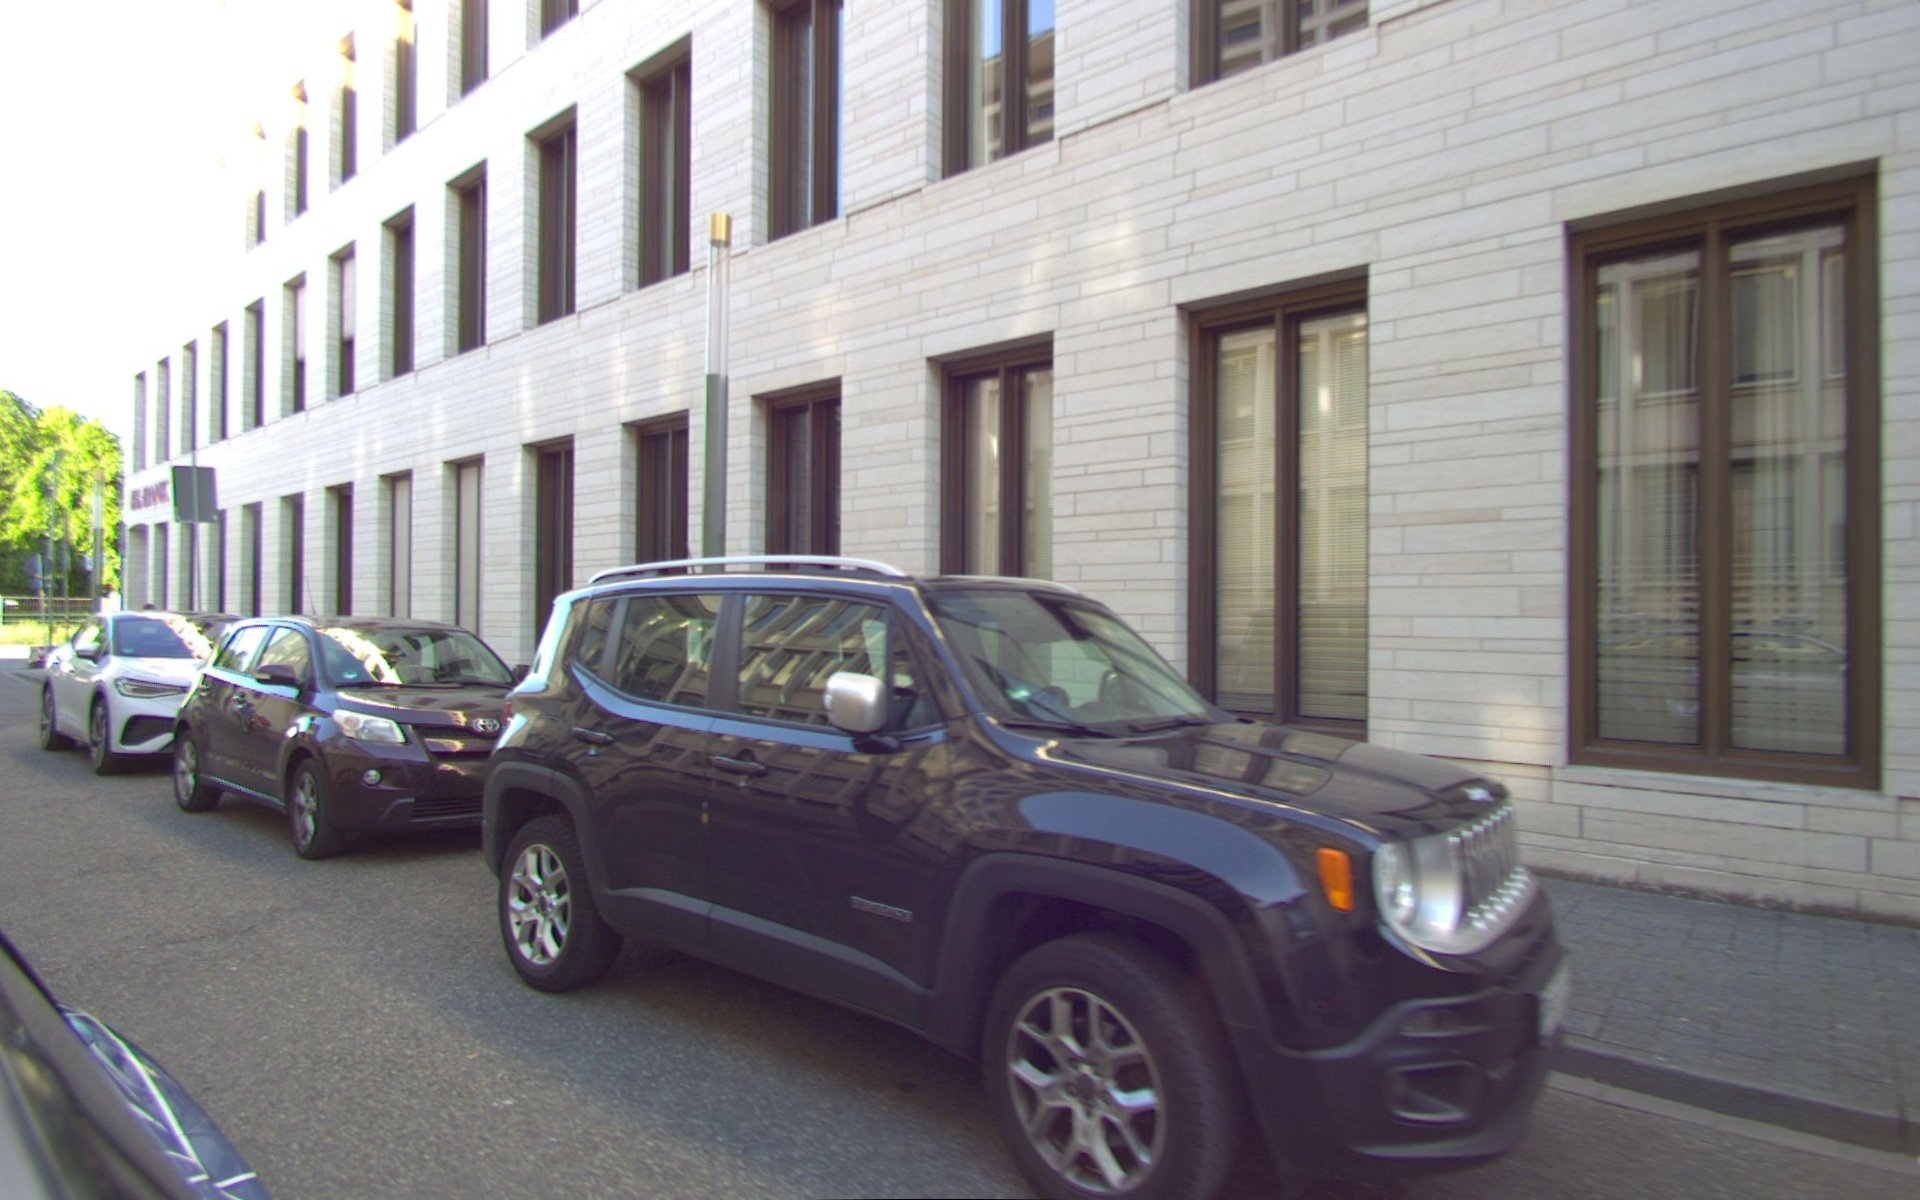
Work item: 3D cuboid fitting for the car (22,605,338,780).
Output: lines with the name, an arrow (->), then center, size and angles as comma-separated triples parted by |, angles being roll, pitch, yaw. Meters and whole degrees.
car -> -8.717, 0.897, 11.167 | 4.442, 1.553, 1.804 | -1, -3, 40

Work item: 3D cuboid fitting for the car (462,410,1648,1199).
car -> 0.031, 0.602, 3.740 | 4.013, 1.728, 1.804 | -1, -4, 39

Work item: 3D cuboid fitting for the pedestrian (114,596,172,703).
pedestrian -> -14.092, 0.827, 17.455 | 0.816, 1.803, 0.637 | 0, 0, 40

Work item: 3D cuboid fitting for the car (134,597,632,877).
car -> -4.521, 0.808, 7.678 | 4.257, 1.553, 1.805 | -1, -1, 38
